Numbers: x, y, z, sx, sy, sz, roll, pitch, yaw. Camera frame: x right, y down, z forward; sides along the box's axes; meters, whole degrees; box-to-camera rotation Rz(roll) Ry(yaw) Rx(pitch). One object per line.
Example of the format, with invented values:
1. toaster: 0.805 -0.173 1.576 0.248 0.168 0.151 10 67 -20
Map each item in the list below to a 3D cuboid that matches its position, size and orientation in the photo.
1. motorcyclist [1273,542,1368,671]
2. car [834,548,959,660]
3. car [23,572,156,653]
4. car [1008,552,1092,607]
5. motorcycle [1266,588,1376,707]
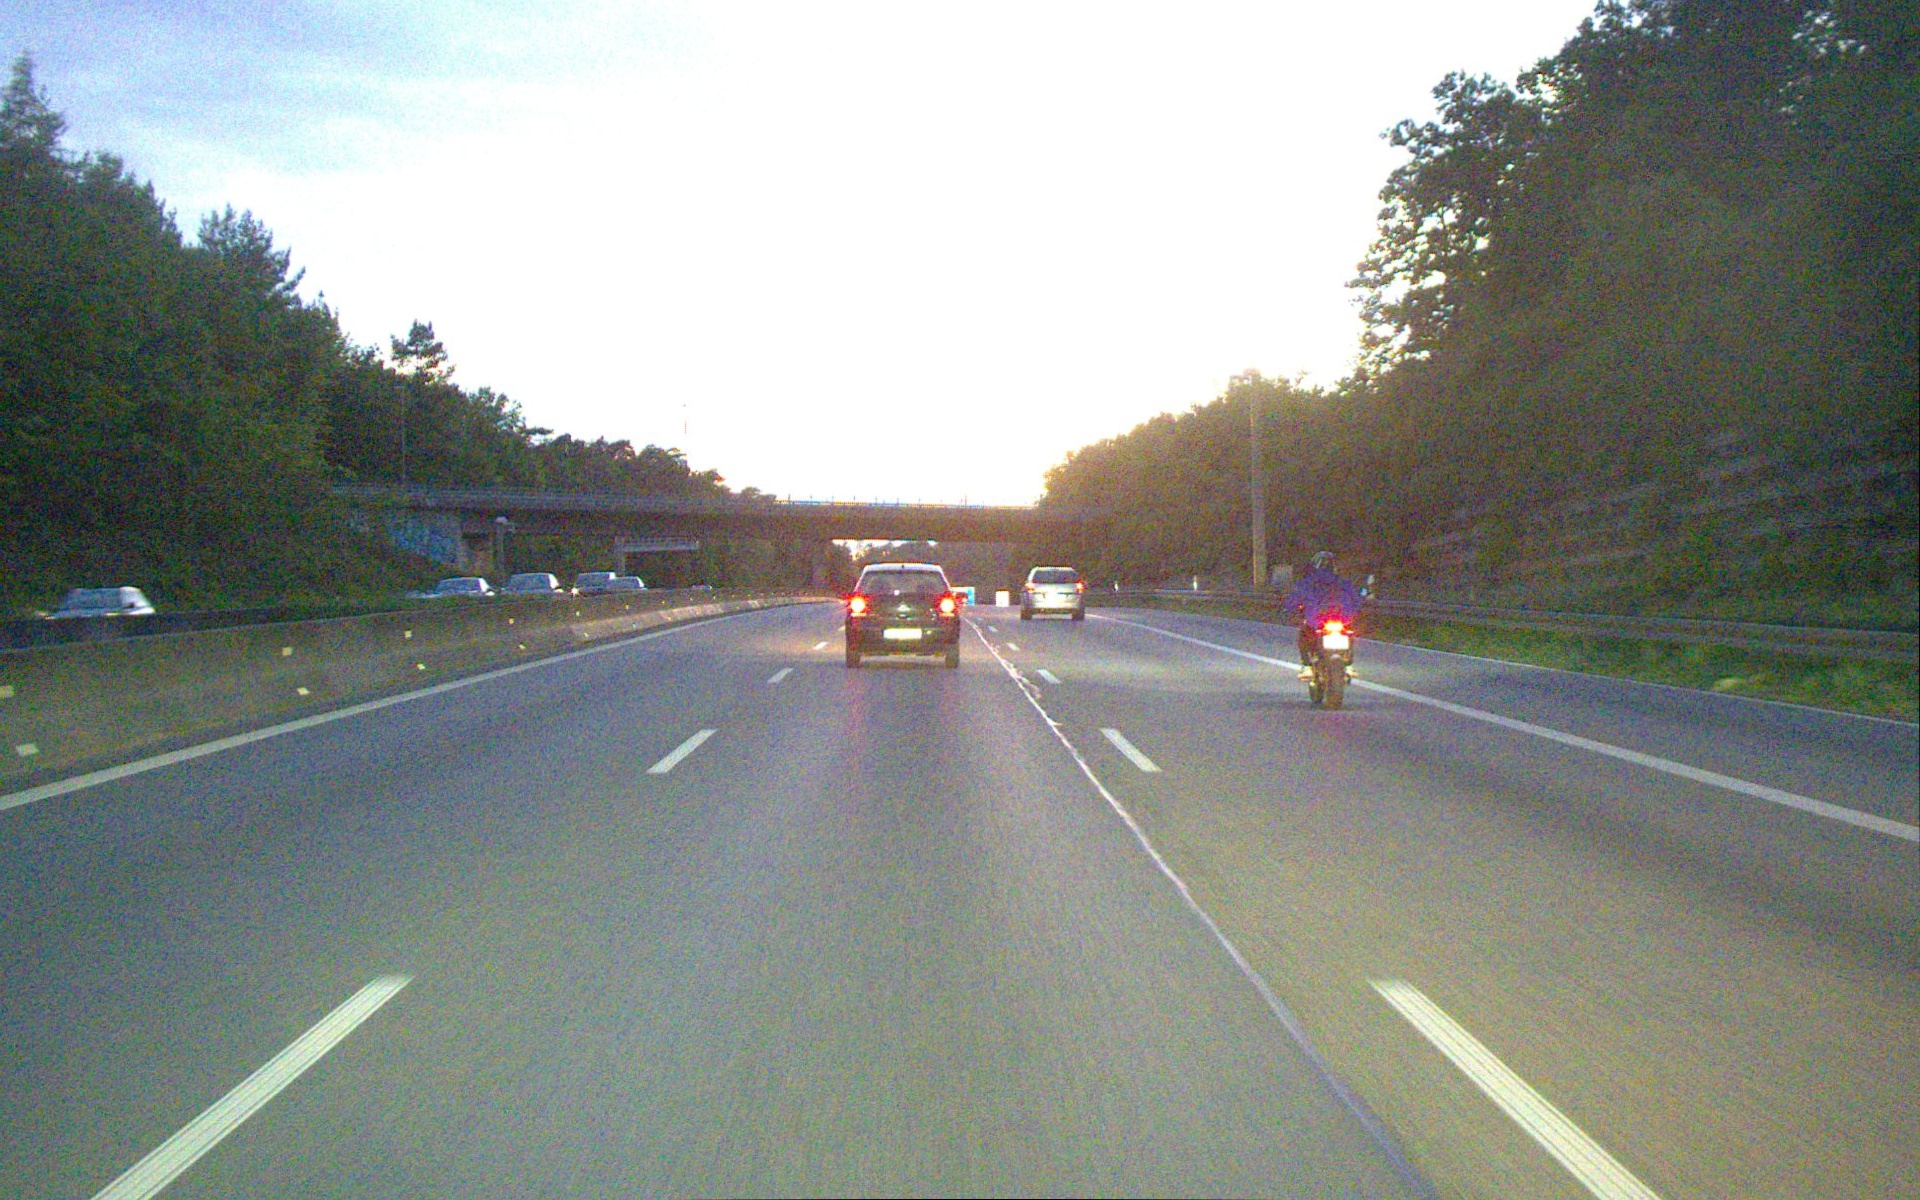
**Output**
1. motorcyclist: 3.653 0.055 34.937 0.829 1.287 1.190 0 1 -1
2. car: -0.897 0.043 49.588 1.704 1.504 4.232 1 0 -1
3. car: -20.188 0.264 79.948 1.916 1.759 5.009 -1 1 -1
4. car: 2.524 -0.581 97.485 1.865 1.489 4.399 1 0 -5
5. motorcycle: 3.655 0.463 35.011 0.829 1.130 2.476 0 1 -1
